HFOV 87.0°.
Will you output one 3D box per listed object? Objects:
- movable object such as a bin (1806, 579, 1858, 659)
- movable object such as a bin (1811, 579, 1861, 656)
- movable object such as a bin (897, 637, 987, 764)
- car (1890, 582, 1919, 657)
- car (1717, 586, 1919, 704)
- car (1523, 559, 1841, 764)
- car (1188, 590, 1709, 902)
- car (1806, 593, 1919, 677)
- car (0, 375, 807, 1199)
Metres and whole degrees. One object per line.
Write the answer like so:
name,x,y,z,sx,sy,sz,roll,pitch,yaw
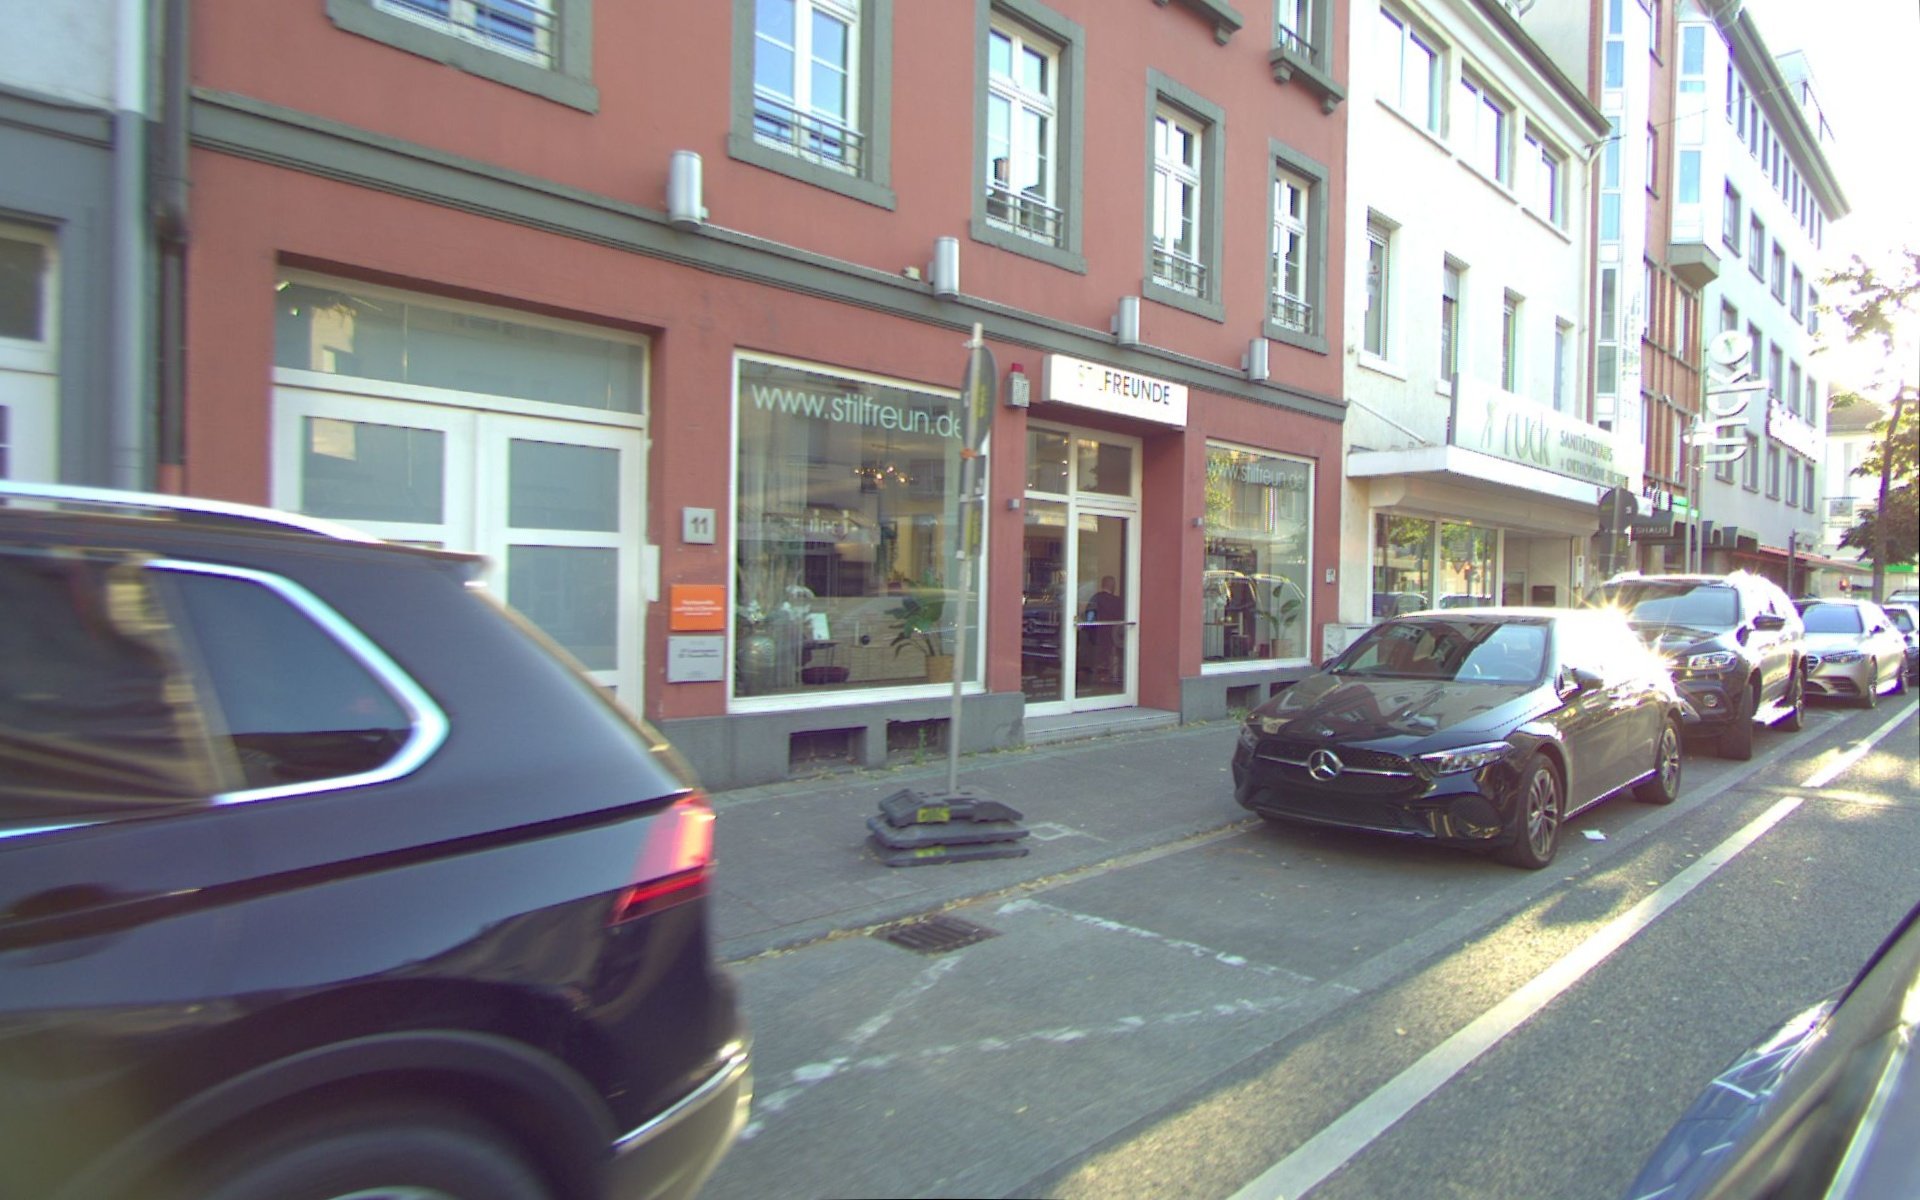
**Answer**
movable object such as a bin,20.149,0.419,23.376,0.835,1.796,1.332,0,0,45
movable object such as a bin,21.037,0.403,24.299,0.835,1.796,1.186,0,0,45
movable object such as a bin,-0.149,0.793,8.216,0.477,0.950,0.553,0,1,-43
car,24.711,0.493,25.560,1.655,1.801,3.946,0,0,45
car,13.494,0.563,15.643,4.905,1.546,1.815,-1,1,-40
car,8.123,0.498,11.171,4.973,1.776,1.885,-1,1,-43
car,3.577,0.693,7.018,4.232,1.502,1.765,-1,1,-41
car,17.724,0.612,19.395,4.432,1.438,1.755,0,0,-43
car,-2.425,0.592,1.208,4.133,1.689,1.815,-1,1,-41
